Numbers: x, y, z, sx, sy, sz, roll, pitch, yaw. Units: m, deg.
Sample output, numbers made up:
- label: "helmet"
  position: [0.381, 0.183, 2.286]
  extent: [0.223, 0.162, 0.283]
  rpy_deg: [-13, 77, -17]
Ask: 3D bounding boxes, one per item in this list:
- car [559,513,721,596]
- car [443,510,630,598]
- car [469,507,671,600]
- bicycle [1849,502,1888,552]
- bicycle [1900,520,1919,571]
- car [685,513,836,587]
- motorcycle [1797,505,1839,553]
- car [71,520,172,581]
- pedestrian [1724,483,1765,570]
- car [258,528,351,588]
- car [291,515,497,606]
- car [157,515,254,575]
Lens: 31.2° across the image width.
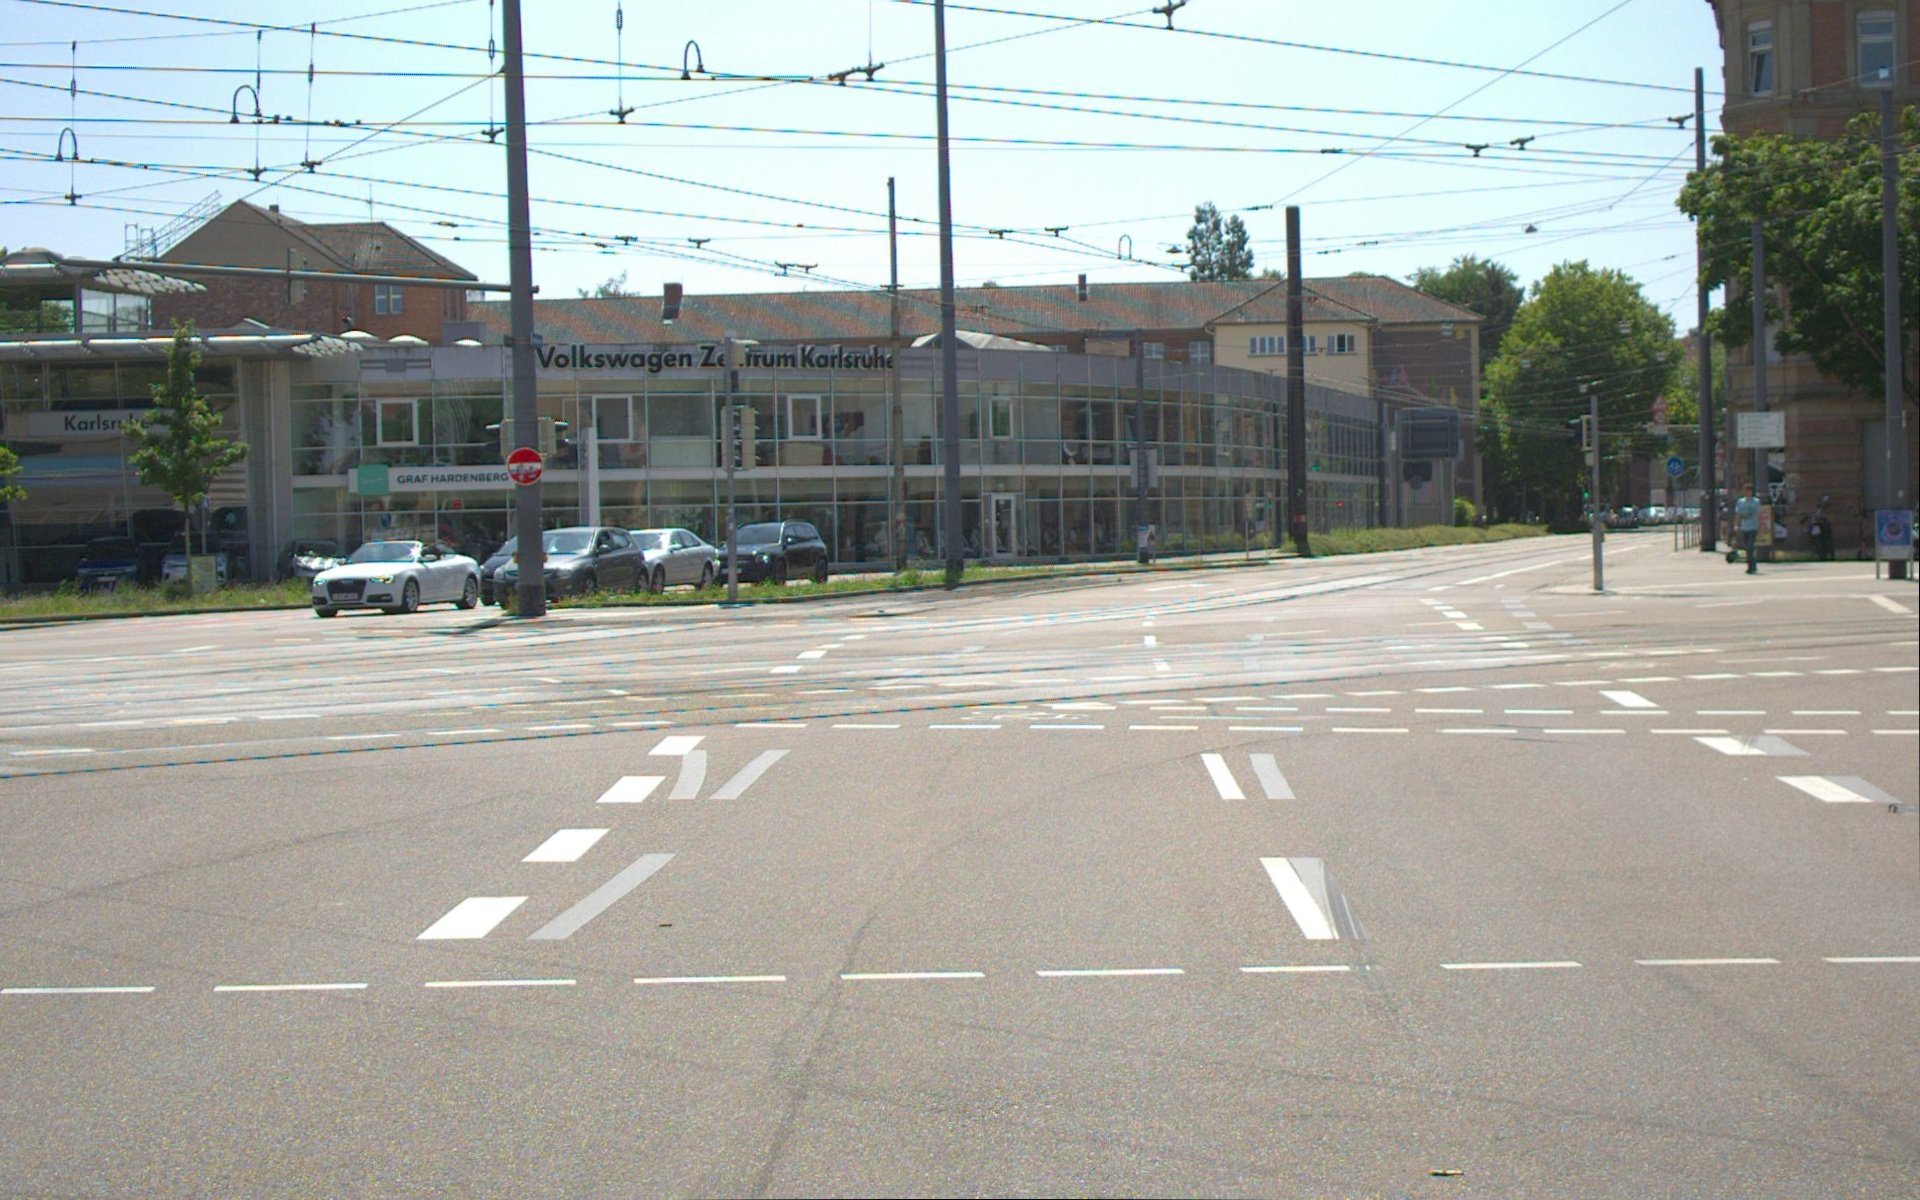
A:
- label: "car"
  position: [-7.057, -1.024, 76.271]
  extent: [1.995, 1.733, 4.540]
  rpy_deg: [-1, 1, 17]
- label: "car"
  position: [-8.614, -0.971, 70.327]
  extent: [1.995, 1.694, 4.843]
  rpy_deg: [-1, 1, 17]
- label: "car"
  position: [-7.263, -0.903, 64.499]
  extent: [1.995, 1.631, 4.843]
  rpy_deg: [-1, 1, 17]
- label: "bicycle"
  position: [20.898, -1.679, 79.111]
  extent: [0.551, 1.116, 1.820]
  rpy_deg: [-1, 1, 5]
- label: "bicycle"
  position: [22.034, -1.245, 79.130]
  extent: [0.442, 1.142, 2.093]
  rpy_deg: [1, 0, 6]
- label: "car"
  position: [-4.780, -1.236, 83.126]
  extent: [2.080, 1.677, 4.843]
  rpy_deg: [-1, 1, 17]
- label: "motorcycle"
  position: [19.767, -1.635, 79.217]
  extent: [0.580, 1.071, 1.946]
  rpy_deg: [-1, 1, 3]
- label: "car"
  position: [-24.376, -1.425, 100.048]
  extent: [1.920, 1.701, 4.000]
  rpy_deg: [1, 0, 0]
- label: "pedestrian"
  position: [15.476, -1.452, 67.827]
  extent: [0.461, 1.702, 0.640]
  rpy_deg: [-2, 1, -26]
- label: "car"
  position: [-19.091, -1.223, 100.238]
  extent: [1.920, 1.701, 4.000]
  rpy_deg: [1, 0, 0]
- label: "car"
  position: [-10.511, -0.771, 64.190]
  extent: [2.078, 1.574, 4.844]
  rpy_deg: [-1, 1, 13]
- label: "car"
  position: [-21.925, -1.588, 100.069]
  extent: [1.920, 1.701, 4.000]
  rpy_deg: [1, 0, 0]
